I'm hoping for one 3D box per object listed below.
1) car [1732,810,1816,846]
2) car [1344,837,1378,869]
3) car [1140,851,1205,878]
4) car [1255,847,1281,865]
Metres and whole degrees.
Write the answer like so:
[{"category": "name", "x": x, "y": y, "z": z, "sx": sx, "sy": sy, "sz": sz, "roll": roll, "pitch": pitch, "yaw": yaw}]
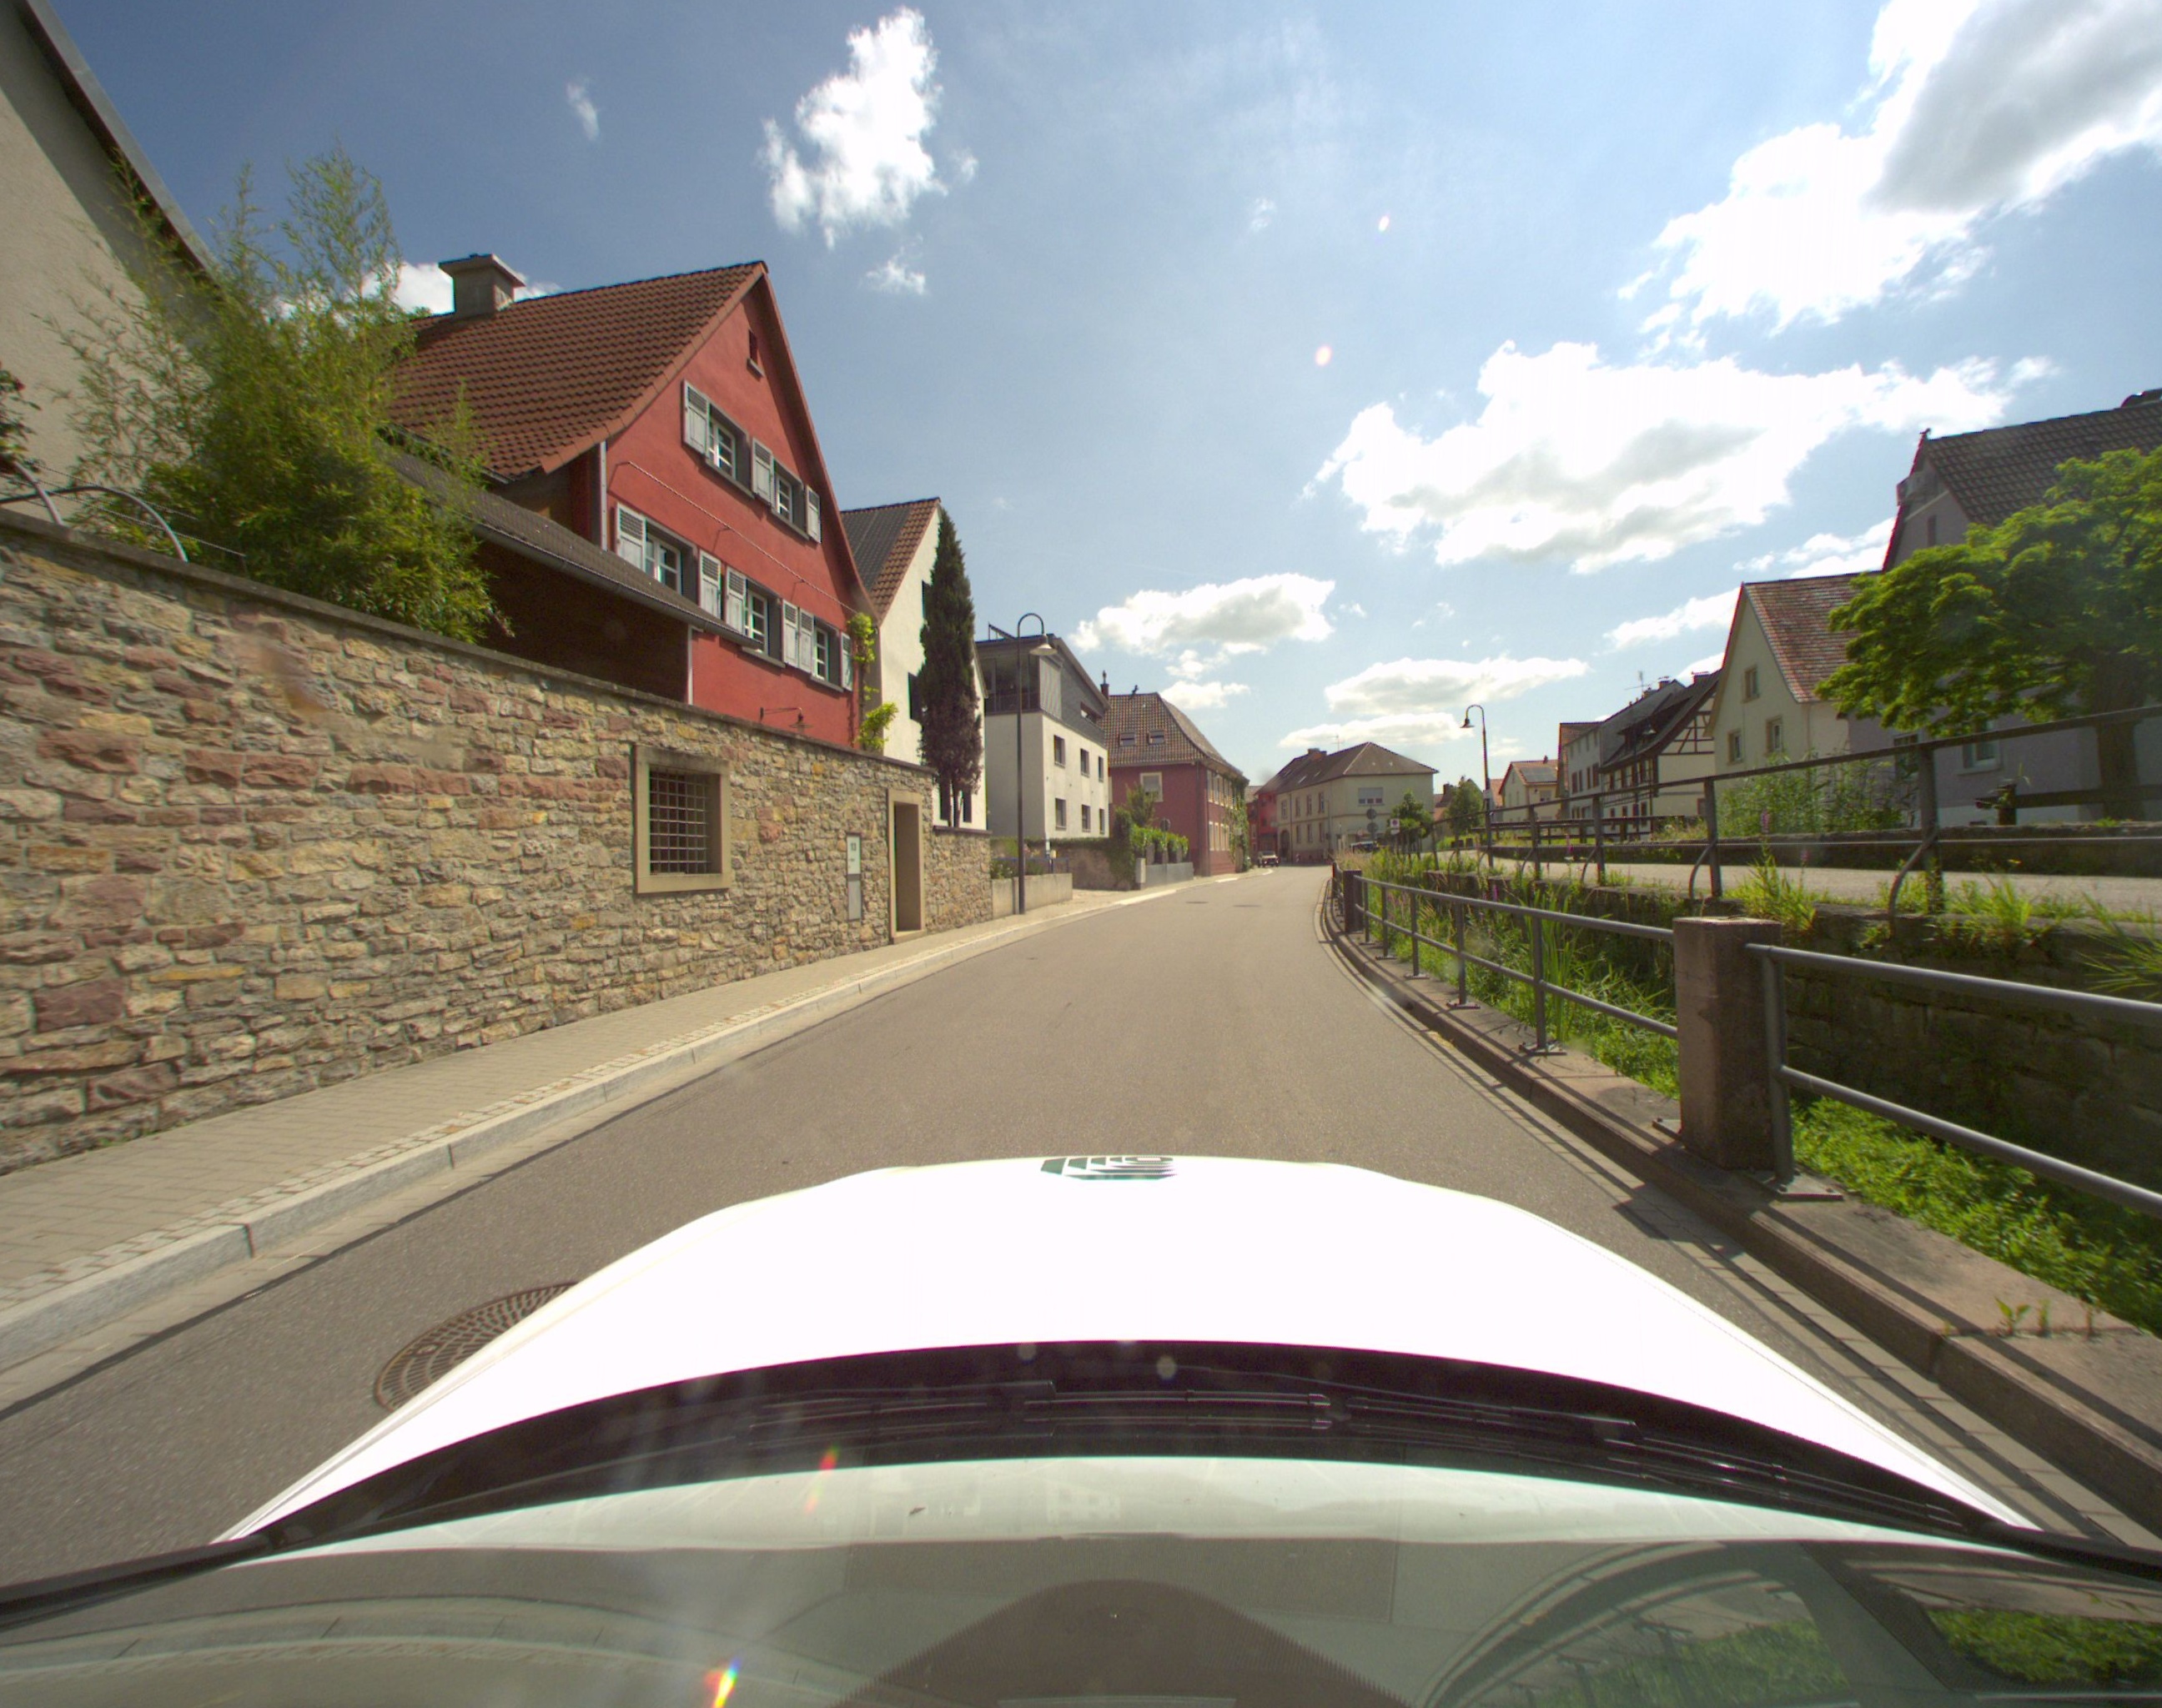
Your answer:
[{"category": "car", "x": 28.716, "y": -1.045, "z": 33.848, "sx": 1.651, "sy": 1.416, "sz": 3.094, "roll": -1, "pitch": 0, "yaw": 19}, {"category": "car", "x": 19.308, "y": -0.089, "z": 56.009, "sx": 1.881, "sy": 1.980, "sz": 3.131, "roll": -4, "pitch": -1, "yaw": 23}, {"category": "car", "x": 5.463, "y": 0.587, "z": 48.535, "sx": 3.536, "sy": 1.406, "sz": 1.660, "roll": 3, "pitch": 1, "yaw": 19}, {"category": "car", "x": 19.360, "y": 0.198, "z": 84.606, "sx": 1.618, "sy": 1.719, "sz": 3.468, "roll": -4, "pitch": -1, "yaw": -4}]
